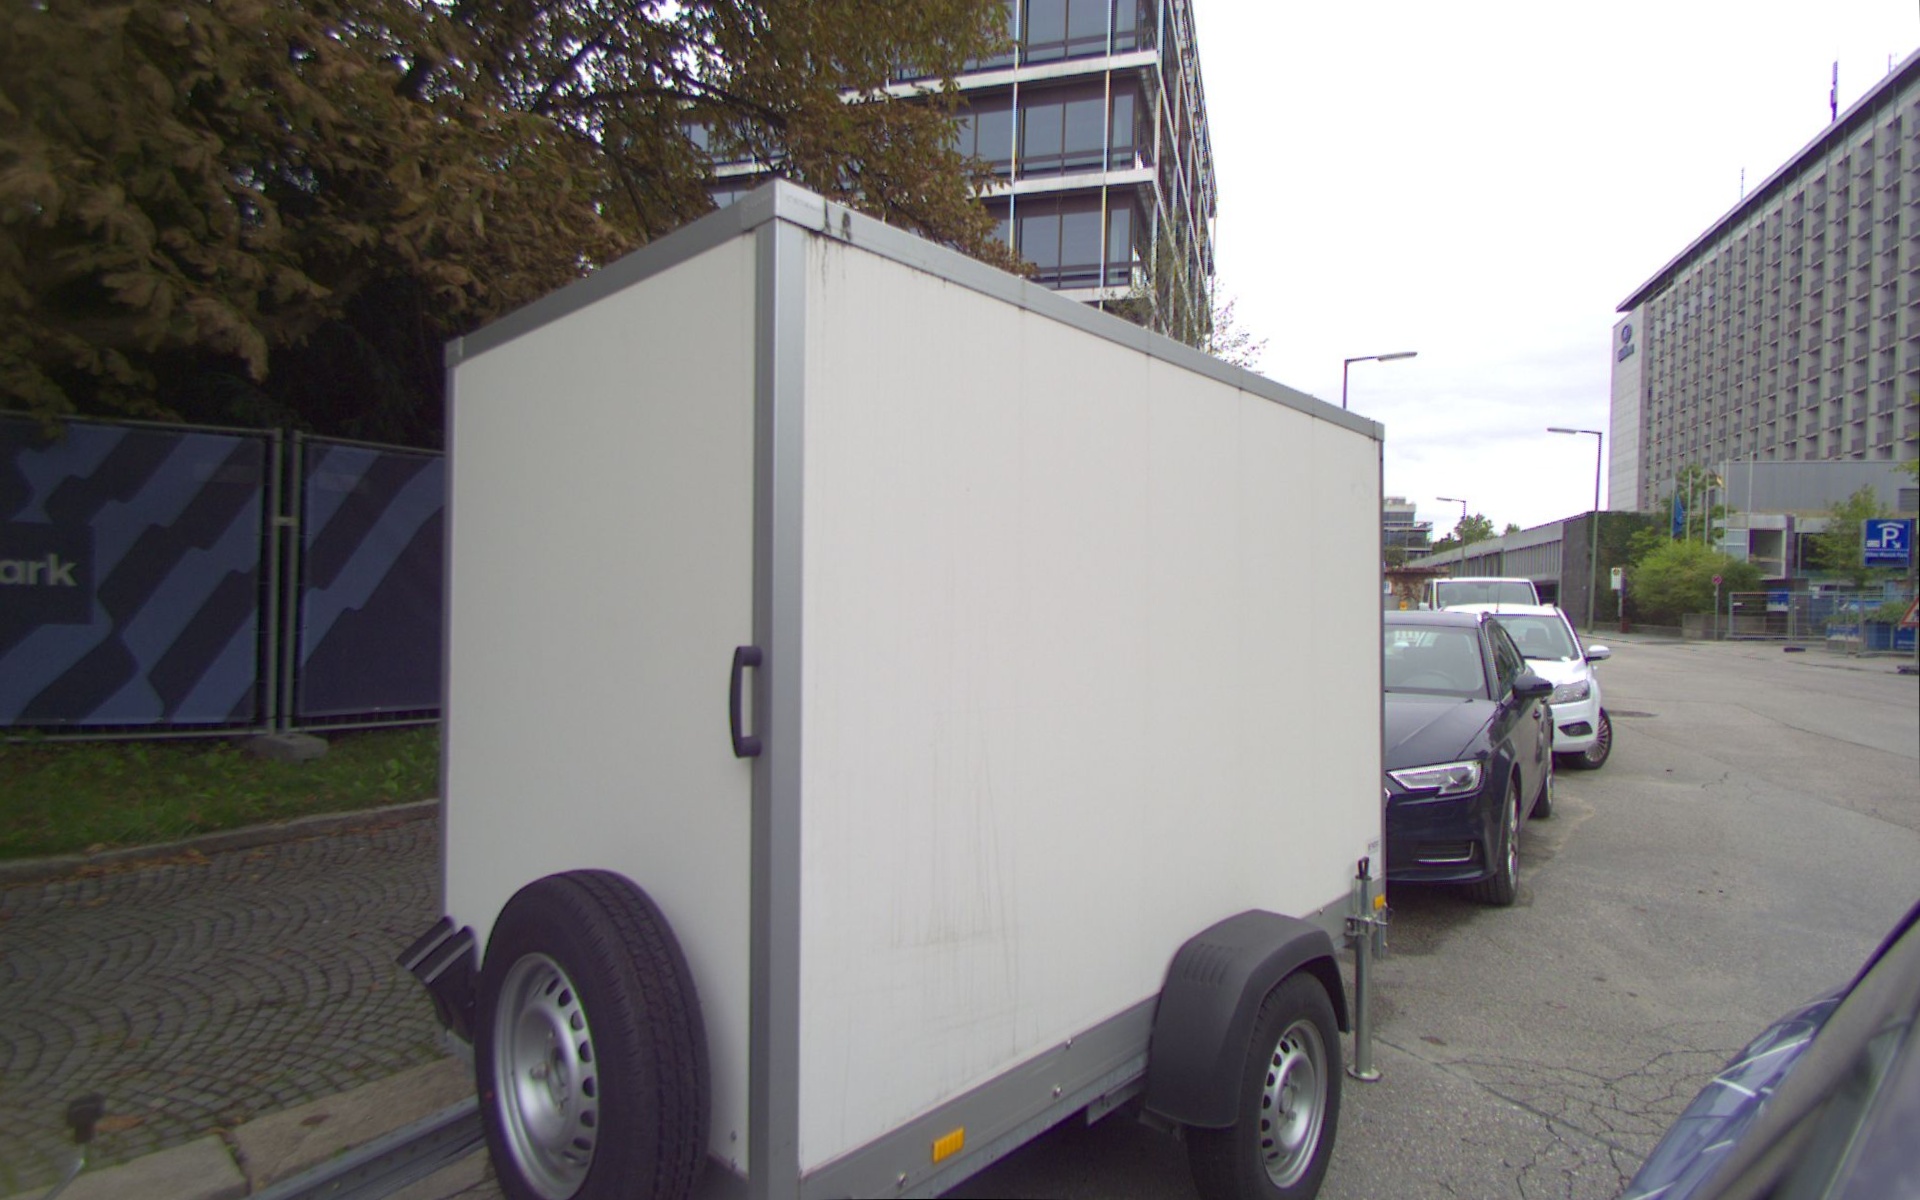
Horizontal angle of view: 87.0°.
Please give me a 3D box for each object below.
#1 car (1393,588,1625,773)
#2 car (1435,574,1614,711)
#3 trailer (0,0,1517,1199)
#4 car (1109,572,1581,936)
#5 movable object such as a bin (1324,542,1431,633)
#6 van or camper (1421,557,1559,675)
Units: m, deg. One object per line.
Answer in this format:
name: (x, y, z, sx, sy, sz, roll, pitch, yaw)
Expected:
car: (5.820, 0.666, 10.720, 1.758, 1.504, 4.176, 2, 1, 30)
car: (8.479, 0.519, 15.588, 1.979, 1.749, 4.413, 2, 1, 24)
trailer: (-0.539, 0.328, 2.234, 4.755, 2.039, 1.810, 0, 1, -45)
car: (2.765, 0.641, 6.519, 1.866, 1.455, 4.274, 3, 1, 34)
movable object such as a bin: (19.126, -0.620, 46.983, 3.204, 3.763, 8.970, 2, 1, 14)
van or camper: (10.628, 0.237, 20.656, 1.978, 2.039, 5.335, 2, 1, 23)
